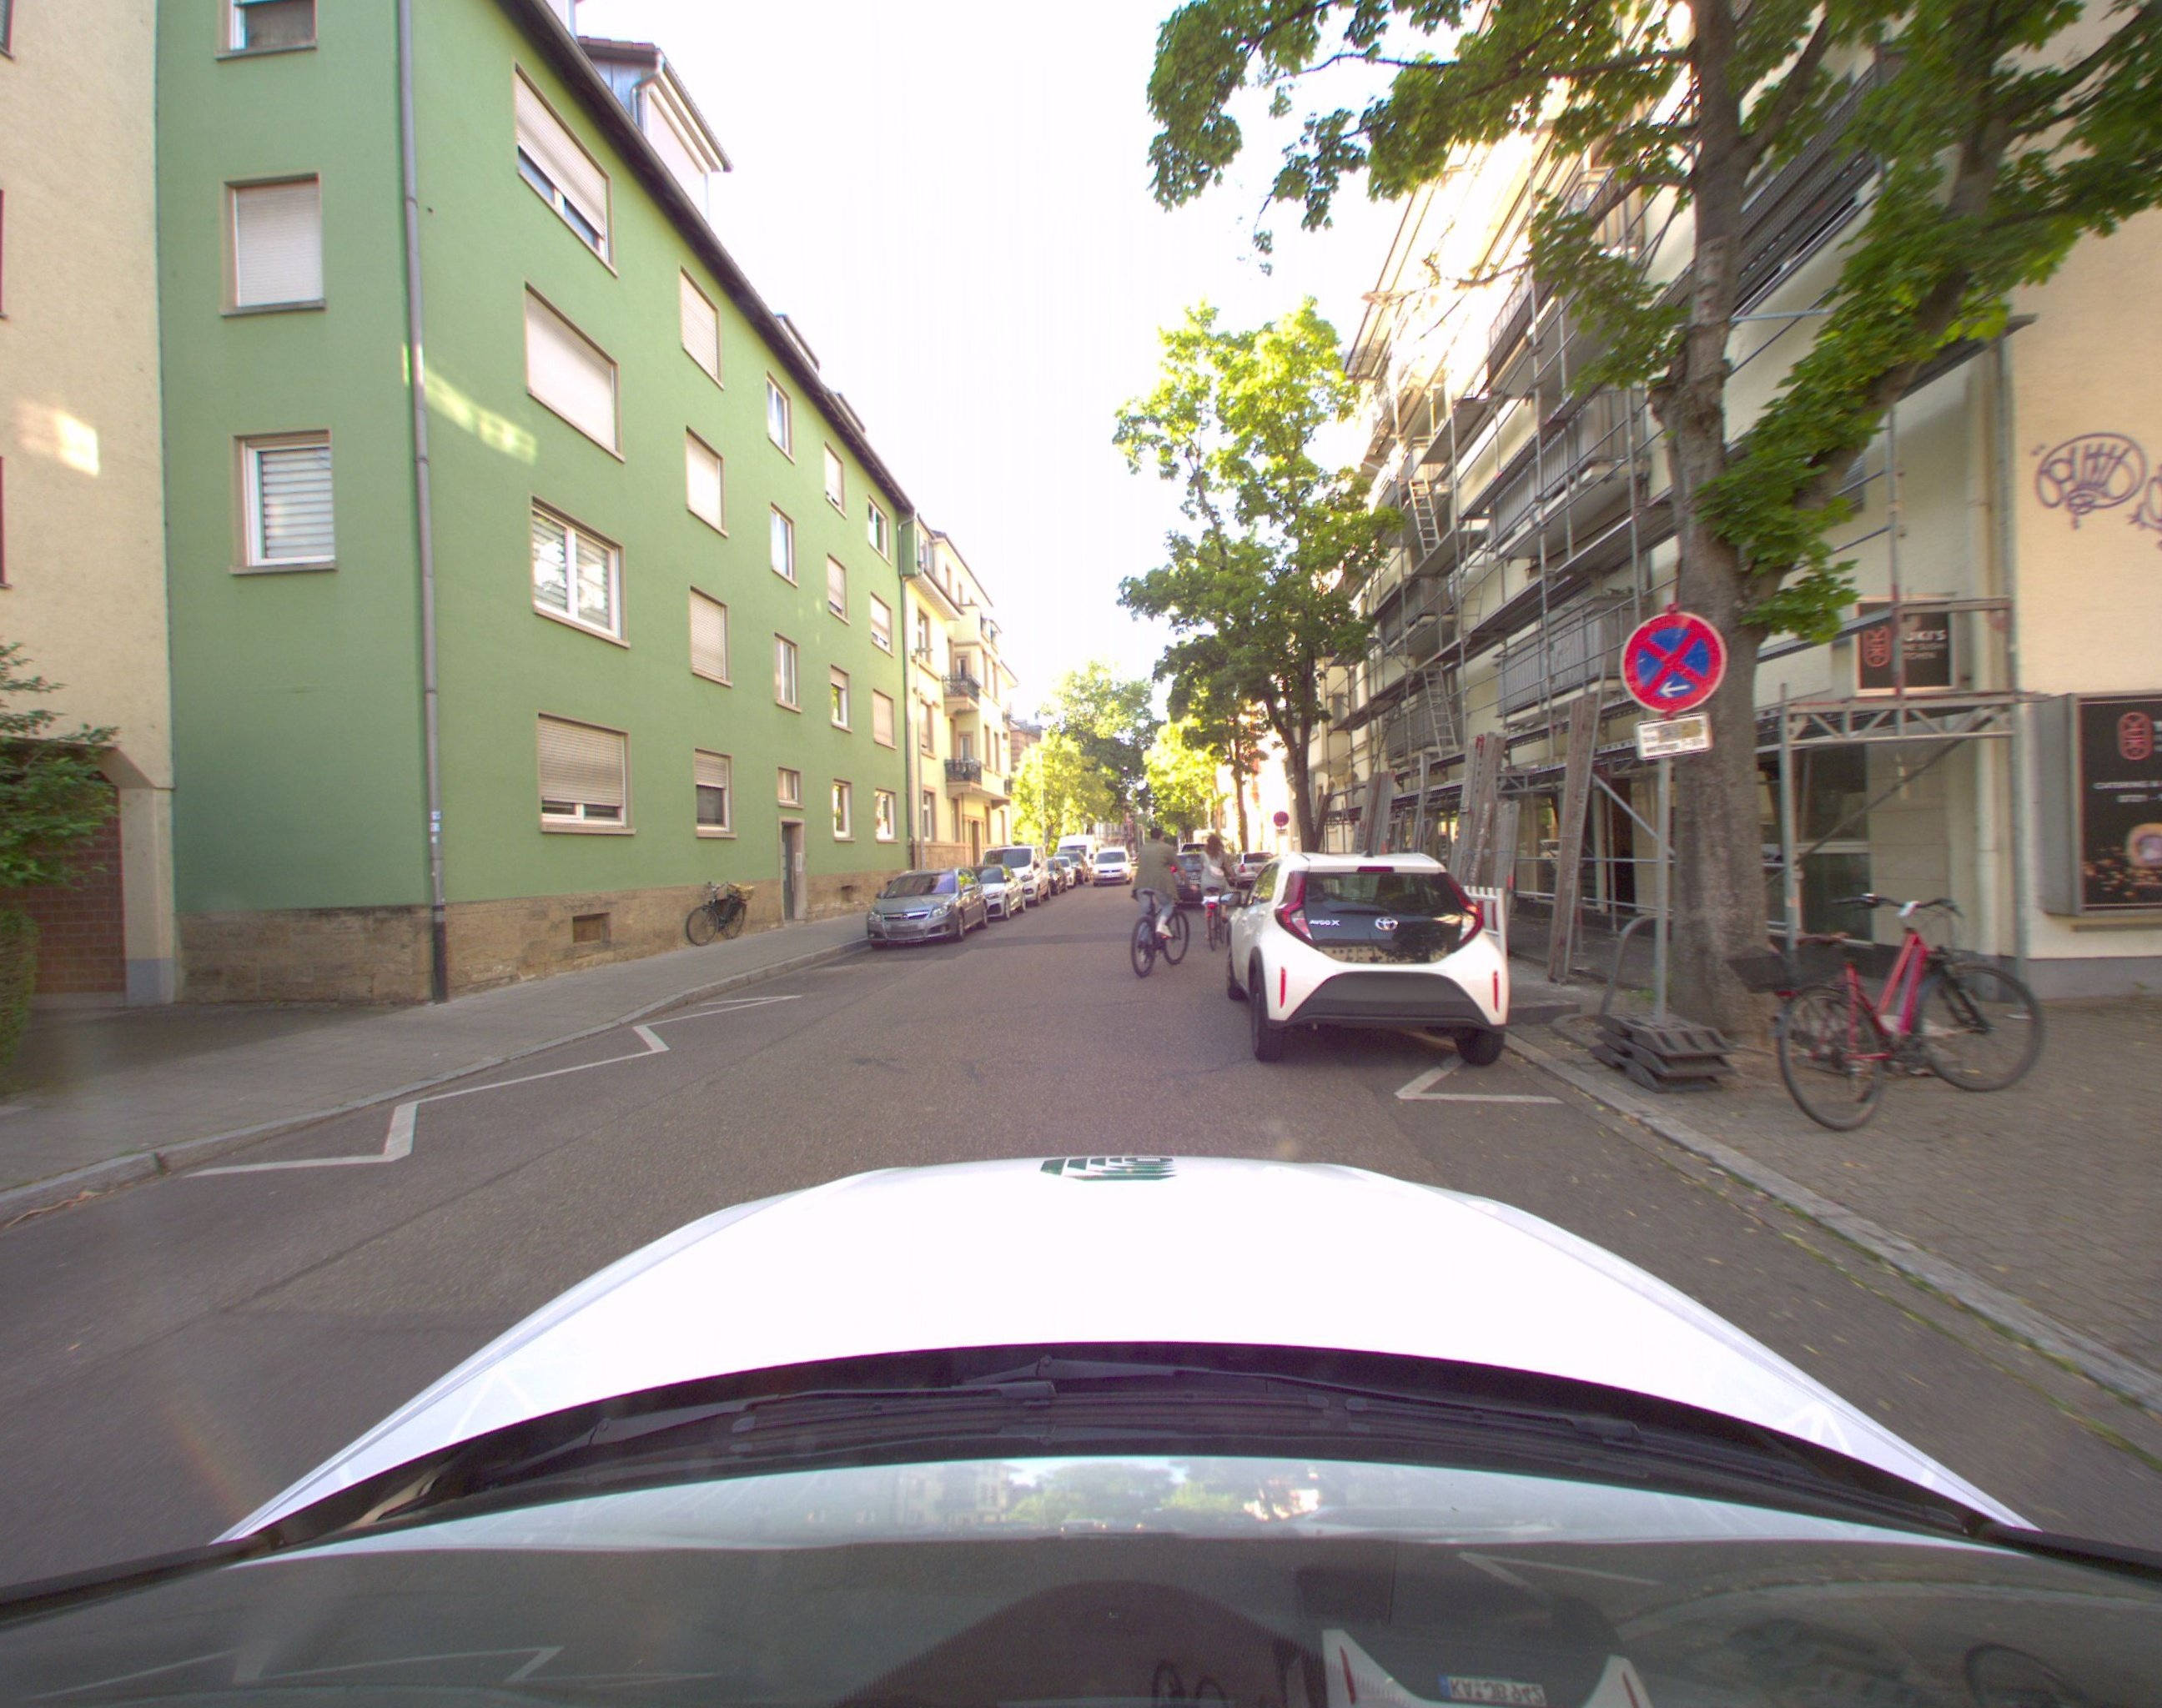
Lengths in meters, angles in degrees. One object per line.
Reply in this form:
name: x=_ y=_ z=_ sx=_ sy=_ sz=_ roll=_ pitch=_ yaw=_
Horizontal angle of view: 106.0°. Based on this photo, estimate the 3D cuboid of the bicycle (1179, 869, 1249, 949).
bicycle: x=2.233 y=0.850 z=13.392 sx=0.832 sy=1.149 sz=2.242 roll=-1 pitch=0 yaw=17

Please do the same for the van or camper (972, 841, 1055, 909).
van or camper: x=-2.168 y=0.644 z=27.542 sx=1.985 sy=2.013 sz=4.917 roll=-3 pitch=0 yaw=4

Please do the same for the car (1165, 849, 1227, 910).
car: x=3.154 y=0.640 z=22.573 sx=1.548 sy=1.533 sz=3.493 roll=-1 pitch=0 yaw=7

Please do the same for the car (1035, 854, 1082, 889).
car: x=-0.997 y=0.786 z=38.626 sx=1.702 sy=1.504 sz=4.006 roll=-2 pitch=0 yaw=5

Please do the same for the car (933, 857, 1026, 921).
car: x=-2.610 y=0.865 z=21.791 sx=1.679 sy=1.453 sz=3.715 roll=-3 pitch=0 yaw=5

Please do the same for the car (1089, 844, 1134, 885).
car: x=1.546 y=0.482 z=39.891 sx=1.773 sy=1.861 sz=4.206 roll=-3 pitch=0 yaw=6

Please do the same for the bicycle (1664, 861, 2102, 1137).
bicycle: x=4.381 y=0.701 z=4.483 sx=1.982 sy=1.165 sz=0.723 roll=-5 pitch=0 yaw=-13

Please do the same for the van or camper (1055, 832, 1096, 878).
van or camper: x=-0.286 y=0.051 z=49.139 sx=1.984 sy=2.553 sz=5.029 roll=-2 pitch=0 yaw=4

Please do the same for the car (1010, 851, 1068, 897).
car: x=-1.624 y=0.752 z=32.771 sx=1.702 sy=1.684 sz=4.006 roll=-2 pitch=0 yaw=5

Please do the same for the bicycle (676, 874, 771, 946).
bicycle: x=-6.696 y=1.002 z=15.398 sx=0.548 sy=1.178 sz=2.282 roll=1 pitch=0 yaw=6

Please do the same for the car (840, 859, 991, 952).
car: x=-3.211 y=0.940 z=16.708 sx=1.971 sy=1.455 sz=4.116 roll=-6 pitch=0 yaw=2

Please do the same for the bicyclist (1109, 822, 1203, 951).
bicyclist: x=0.967 y=0.430 z=10.467 sx=0.873 sy=1.562 sz=0.873 roll=-4 pitch=-4 yaw=27

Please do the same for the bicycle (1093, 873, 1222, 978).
bicycle: x=1.054 y=0.854 z=10.582 sx=0.831 sy=1.149 sz=2.246 roll=0 pitch=0 yaw=29

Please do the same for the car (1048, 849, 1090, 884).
car: x=-0.589 y=0.631 z=43.061 sx=1.702 sy=1.699 sz=4.006 roll=-2 pitch=0 yaw=5

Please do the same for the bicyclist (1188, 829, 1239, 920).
bicyclist: x=2.122 y=0.344 z=12.982 sx=0.618 sy=1.381 sz=0.872 roll=-4 pitch=-5 yaw=17

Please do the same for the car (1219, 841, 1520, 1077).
car: x=2.190 y=0.690 z=7.092 sx=1.667 sy=1.545 sz=3.408 roll=0 pitch=0 yaw=5

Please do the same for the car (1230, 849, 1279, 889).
car: x=6.724 y=0.544 z=31.823 sx=1.548 sy=1.409 sz=3.387 roll=1 pitch=1 yaw=7
